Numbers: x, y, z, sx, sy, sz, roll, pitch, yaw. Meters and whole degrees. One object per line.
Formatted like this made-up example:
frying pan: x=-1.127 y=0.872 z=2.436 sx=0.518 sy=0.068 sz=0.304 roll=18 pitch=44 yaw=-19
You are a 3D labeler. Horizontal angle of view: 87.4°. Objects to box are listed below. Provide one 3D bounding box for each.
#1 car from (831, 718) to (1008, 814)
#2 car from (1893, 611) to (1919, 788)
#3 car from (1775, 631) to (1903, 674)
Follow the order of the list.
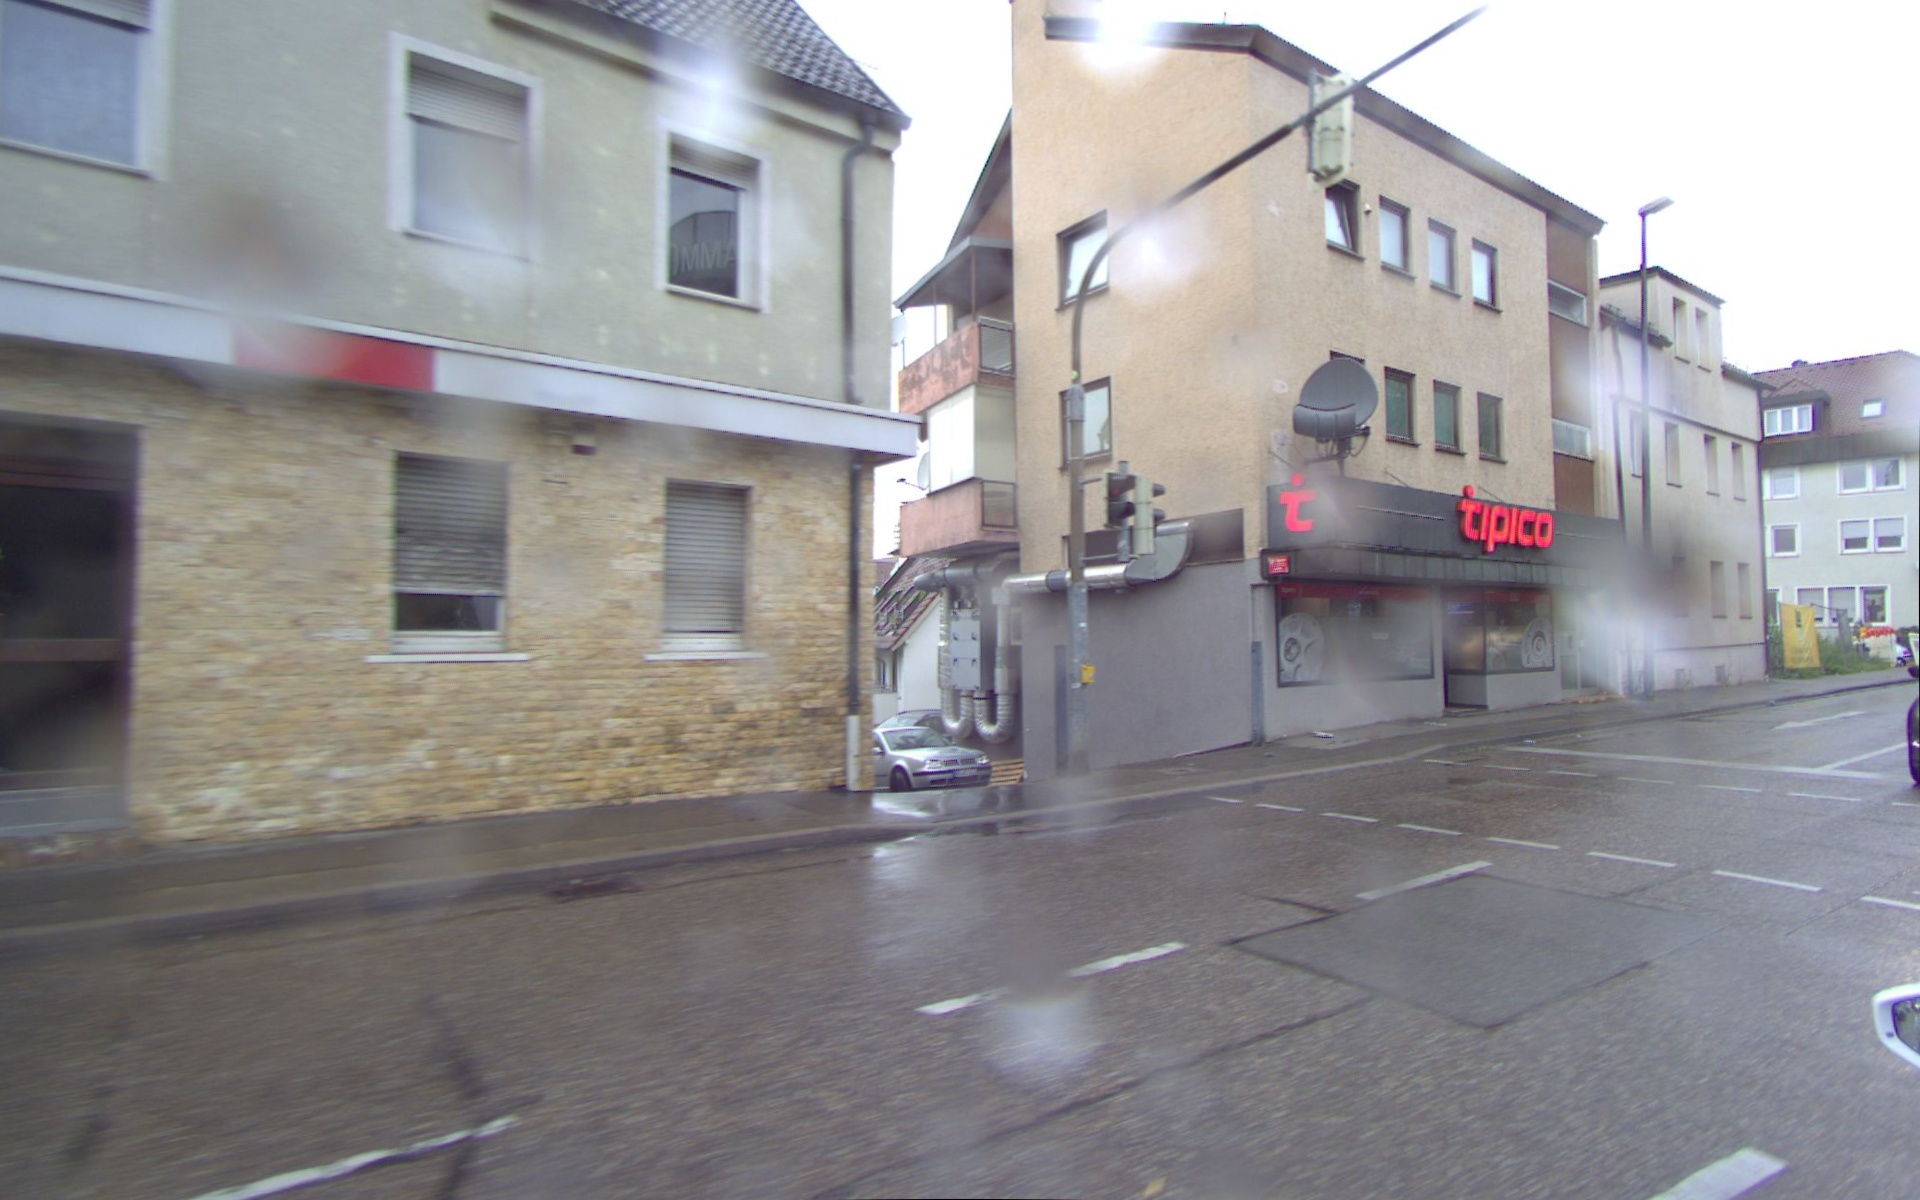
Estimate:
car: x=-0.878 y=3.082 z=18.944 sx=1.710 sy=1.501 sz=3.838 roll=0 pitch=-7 yaw=-30
car: x=10.762 y=0.916 z=9.759 sx=4.361 sy=1.583 sz=1.771 roll=1 pitch=-1 yaw=-37
car: x=37.818 y=2.284 z=43.301 sx=3.969 sy=1.404 sz=1.783 roll=-10 pitch=-6 yaw=43
